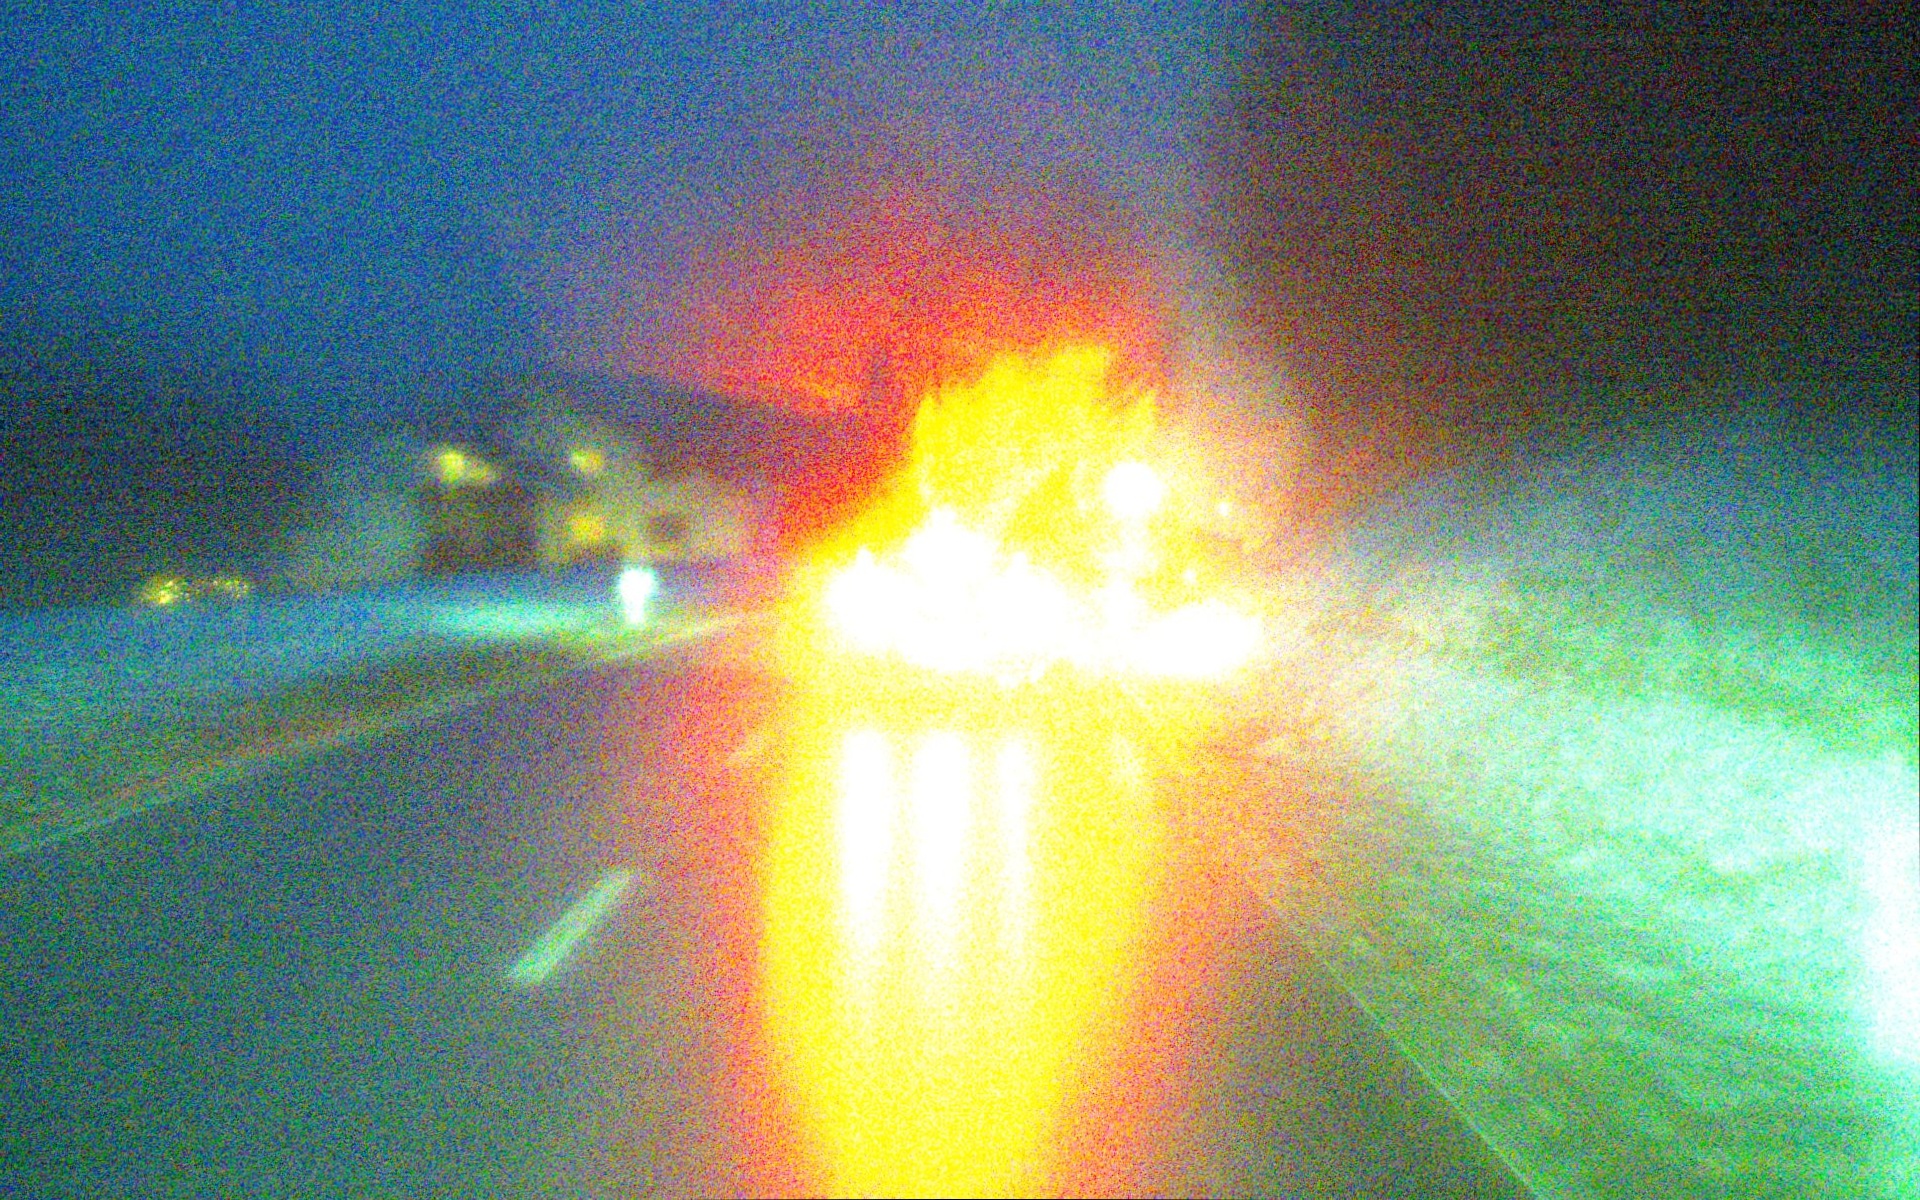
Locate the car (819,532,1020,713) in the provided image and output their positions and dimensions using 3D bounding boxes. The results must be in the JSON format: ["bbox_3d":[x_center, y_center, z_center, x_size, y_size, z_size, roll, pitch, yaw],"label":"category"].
[{"bbox_3d":[-0.377,0.175,32.804,1.801,1.623,3.615,0,1,0],"label":"car"}]
